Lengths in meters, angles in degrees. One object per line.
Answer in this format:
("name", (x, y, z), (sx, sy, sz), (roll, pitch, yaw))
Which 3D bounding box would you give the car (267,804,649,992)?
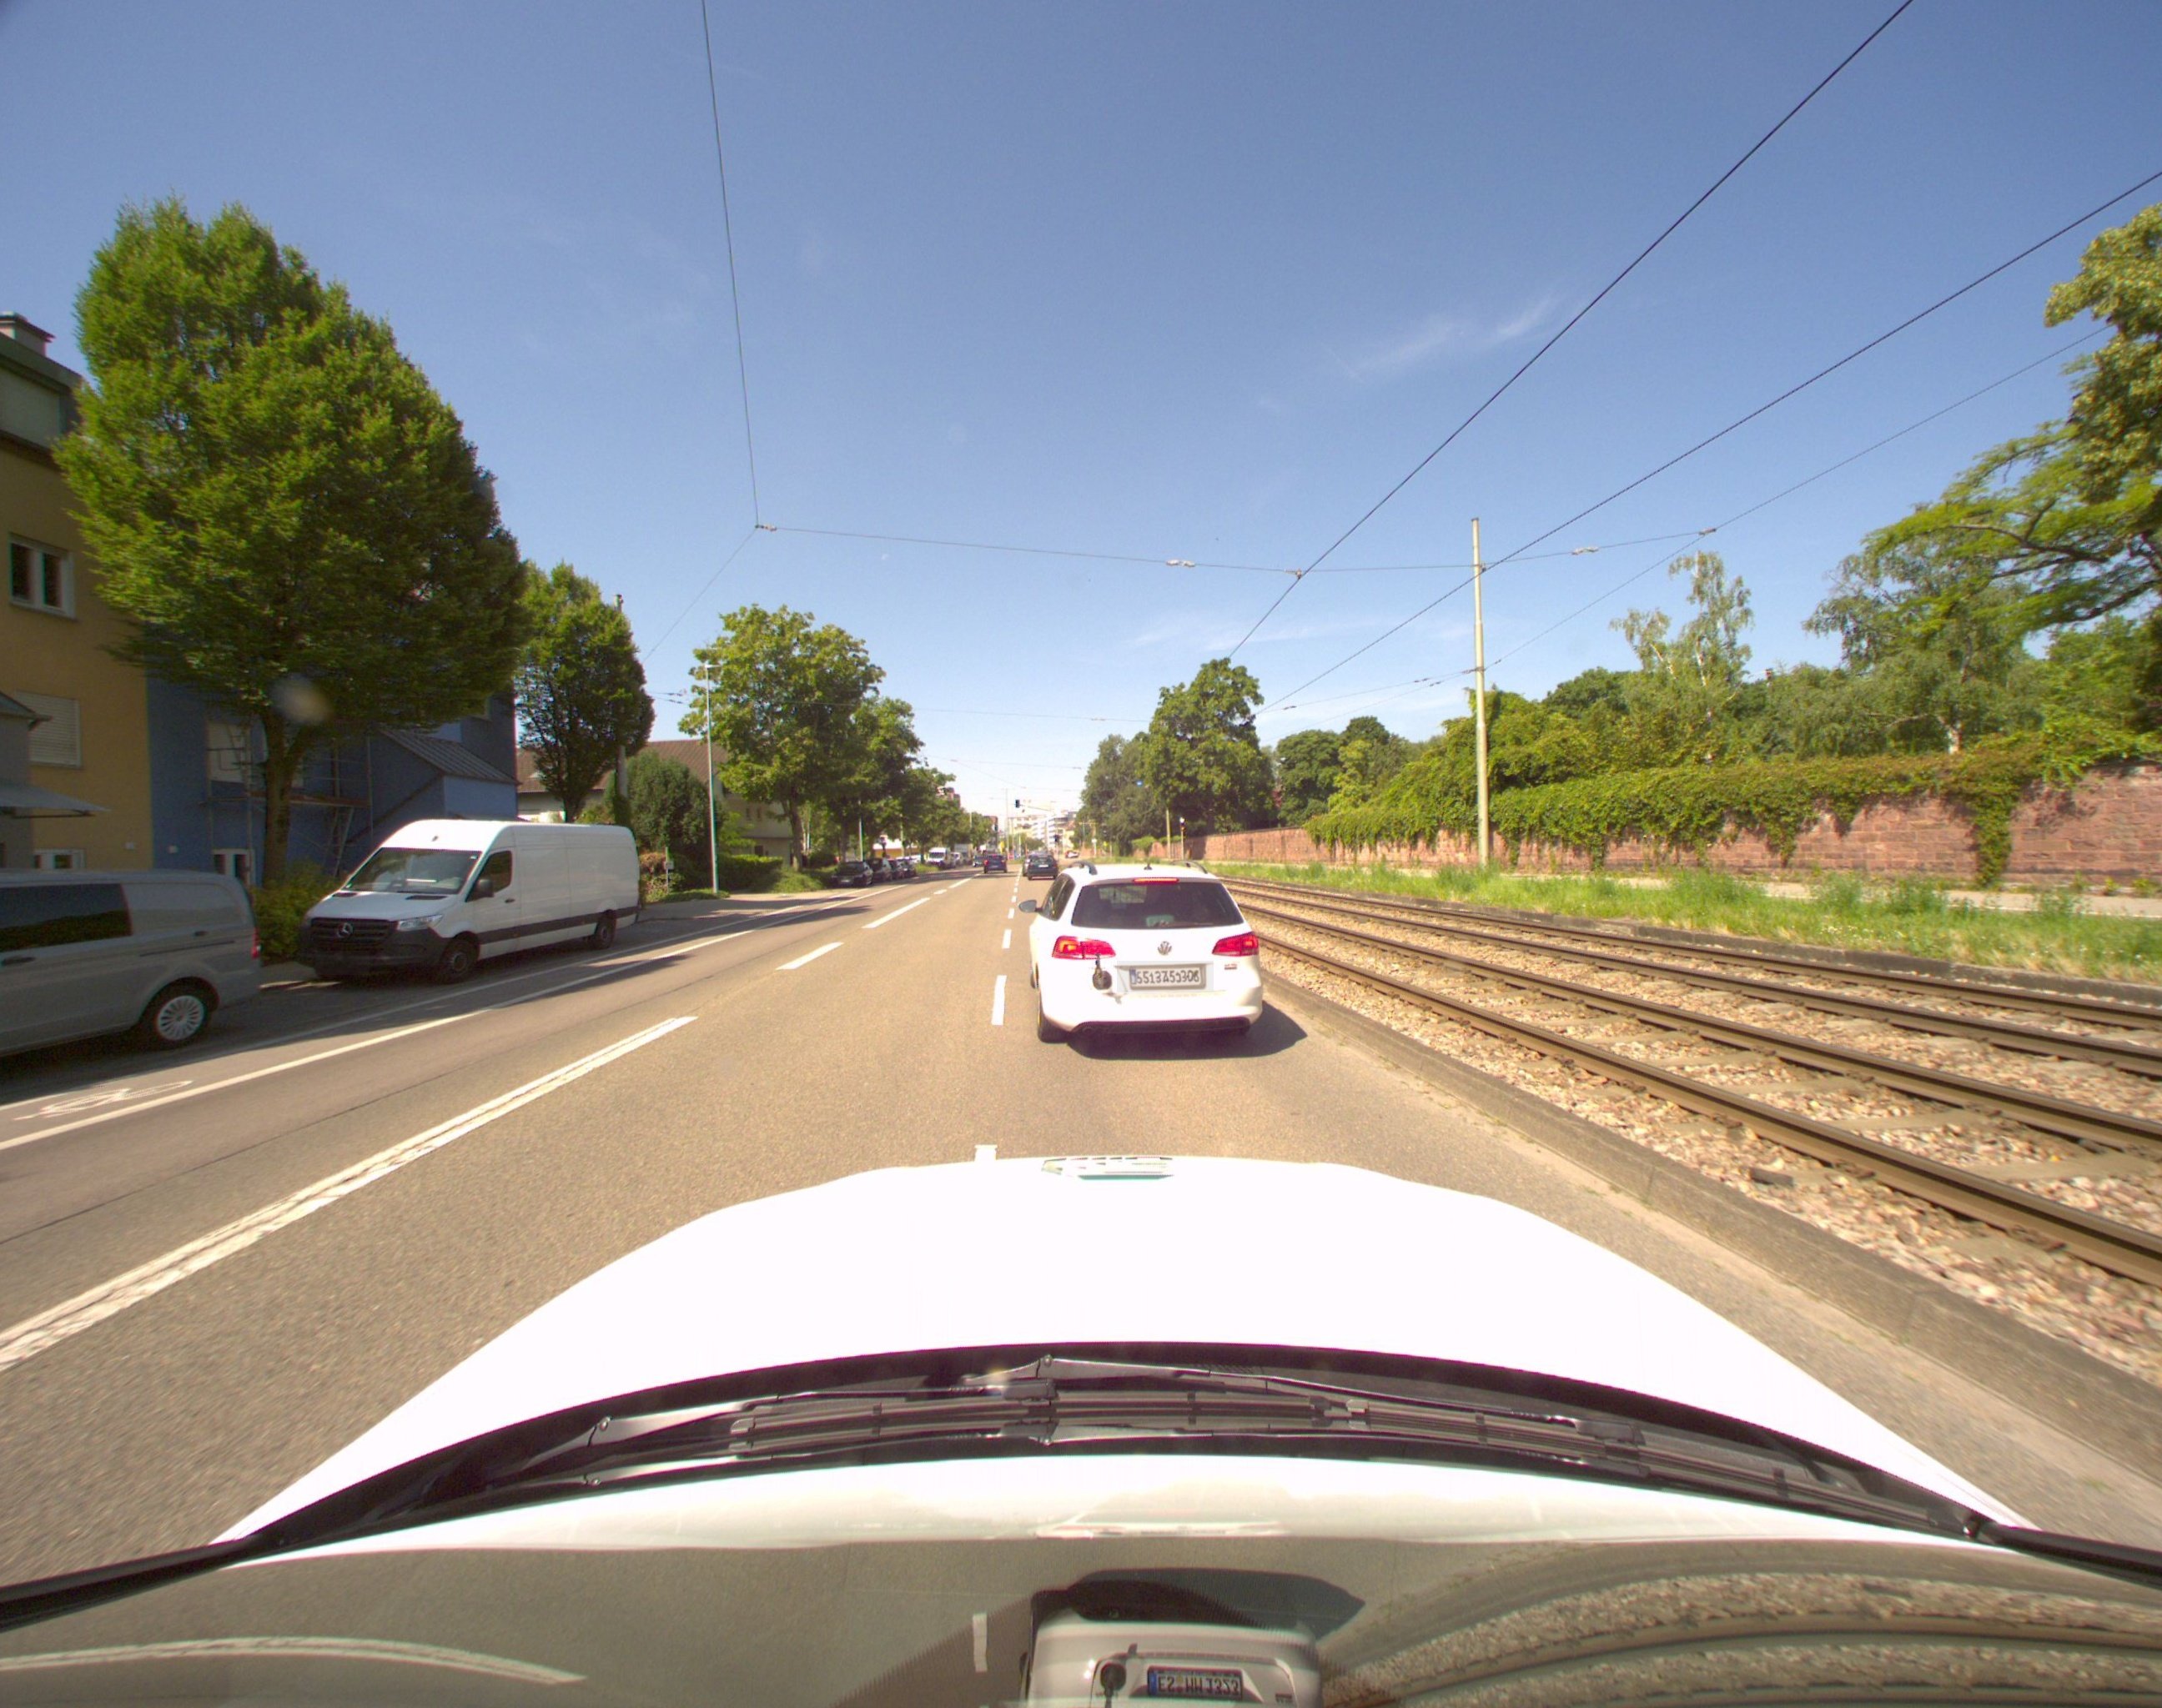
("car", (-10.922, 0.651, 15.408), (1.990, 2.714, 7.148), (1, 0, -3))

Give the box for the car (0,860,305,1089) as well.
("car", (-10.374, 1.057, 7.317), (1.916, 1.948, 5.346), (1, 0, -4))

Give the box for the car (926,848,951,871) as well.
("car", (-16.200, 0.589, 92.863), (1.874, 2.415, 5.114), (-2, 0, -1))

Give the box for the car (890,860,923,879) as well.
("car", (-13.669, 1.198, 63.904), (1.695, 1.352, 3.998), (-2, 0, -1))

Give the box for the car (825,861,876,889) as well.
("car", (-12.917, 1.162, 45.898), (1.695, 1.417, 3.998), (-2, 0, -1))

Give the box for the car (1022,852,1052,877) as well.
("car", (-2.824, 0.656, 51.949), (1.797, 1.460, 3.993), (-1, 1, -5))

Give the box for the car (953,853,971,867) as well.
("car", (-16.582, 0.766, 113.396), (1.821, 1.867, 4.723), (-2, 0, -1))

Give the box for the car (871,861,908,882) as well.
("car", (-13.771, 1.212, 58.749), (1.695, 1.352, 3.998), (-2, 0, -1))

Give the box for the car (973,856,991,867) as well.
("car", (-11.788, 0.867, 97.009), (1.695, 1.273, 3.997), (-2, 0, -2))

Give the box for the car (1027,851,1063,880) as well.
("car", (-2.043, 0.585, 45.086), (1.797, 1.507, 3.993), (-1, 1, -5))

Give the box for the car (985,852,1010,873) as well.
("car", (-6.359, 0.640, 62.593), (1.797, 1.507, 3.994), (-1, 1, -5))

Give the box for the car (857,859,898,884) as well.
("car", (-13.284, 1.092, 53.354), (1.695, 1.482, 3.998), (-2, 0, -1))

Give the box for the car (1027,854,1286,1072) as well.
("car", (0.407, 0.759, 7.975), (1.689, 1.451, 4.450), (-2, 0, -6))
